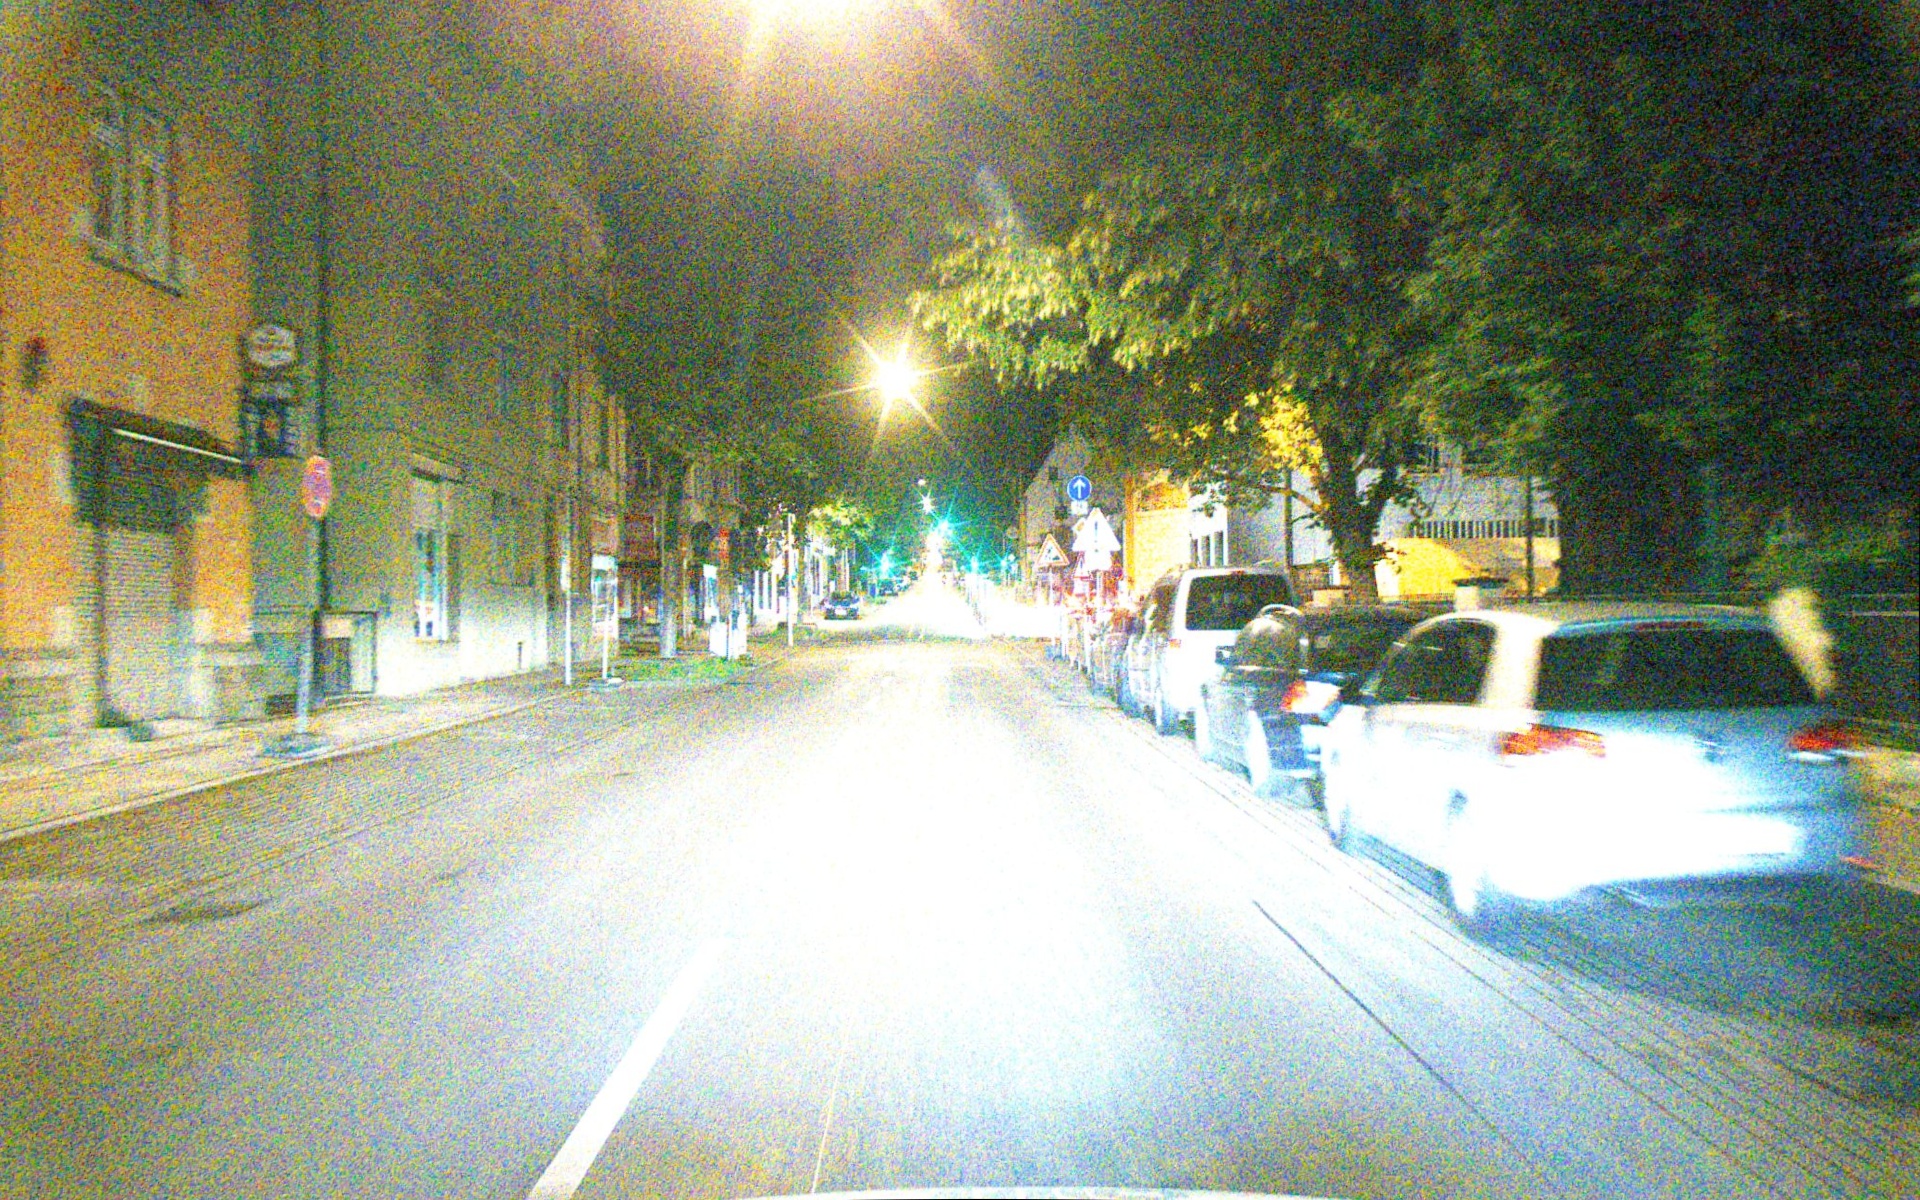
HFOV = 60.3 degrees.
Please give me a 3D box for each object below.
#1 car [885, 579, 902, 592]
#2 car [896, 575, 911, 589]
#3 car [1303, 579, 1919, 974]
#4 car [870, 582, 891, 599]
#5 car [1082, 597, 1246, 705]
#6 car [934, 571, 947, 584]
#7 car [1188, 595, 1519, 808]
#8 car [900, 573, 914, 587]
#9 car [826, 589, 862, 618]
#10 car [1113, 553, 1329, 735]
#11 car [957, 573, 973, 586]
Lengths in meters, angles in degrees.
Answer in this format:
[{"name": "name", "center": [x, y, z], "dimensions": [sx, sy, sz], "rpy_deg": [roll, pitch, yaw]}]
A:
[{"name": "car", "center": [-7.878, -1.730, 196.238], "dimensions": [1.835, 1.571, 4.204], "rpy_deg": [-1, 1, -1]}, {"name": "car", "center": [-7.489, -2.439, 220.492], "dimensions": [1.835, 1.846, 4.204], "rpy_deg": [-1, 1, -1]}, {"name": "car", "center": [3.119, 0.707, 8.725], "dimensions": [1.704, 1.503, 4.000], "rpy_deg": [-3, 0, 0]}, {"name": "car", "center": [-7.585, -0.915, 158.439], "dimensions": [1.835, 1.571, 4.204], "rpy_deg": [-1, 1, -1]}, {"name": "car", "center": [2.954, 0.688, 24.809], "dimensions": [1.693, 1.444, 4.321], "rpy_deg": [-1, 0, -3]}, {"name": "car", "center": [-2.867, -3.381, 248.157], "dimensions": [1.835, 1.846, 4.205], "rpy_deg": [-1, 1, 0]}, {"name": "car", "center": [3.095, 0.712, 13.941], "dimensions": [1.652, 1.445, 4.442], "rpy_deg": [-2, 0, -1]}, {"name": "car", "center": [-7.660, -2.892, 238.443], "dimensions": [1.835, 1.846, 4.205], "rpy_deg": [-1, 1, 0]}, {"name": "car", "center": [-6.065, 0.166, 86.762], "dimensions": [1.637, 1.468, 4.204], "rpy_deg": [-1, 1, -1]}, {"name": "car", "center": [2.984, 0.463, 19.761], "dimensions": [1.700, 1.887, 4.314], "rpy_deg": [-2, 0, -2]}, {"name": "car", "center": [0.632, -2.589, 209.344], "dimensions": [1.835, 1.571, 4.204], "rpy_deg": [-1, 1, -1]}]
